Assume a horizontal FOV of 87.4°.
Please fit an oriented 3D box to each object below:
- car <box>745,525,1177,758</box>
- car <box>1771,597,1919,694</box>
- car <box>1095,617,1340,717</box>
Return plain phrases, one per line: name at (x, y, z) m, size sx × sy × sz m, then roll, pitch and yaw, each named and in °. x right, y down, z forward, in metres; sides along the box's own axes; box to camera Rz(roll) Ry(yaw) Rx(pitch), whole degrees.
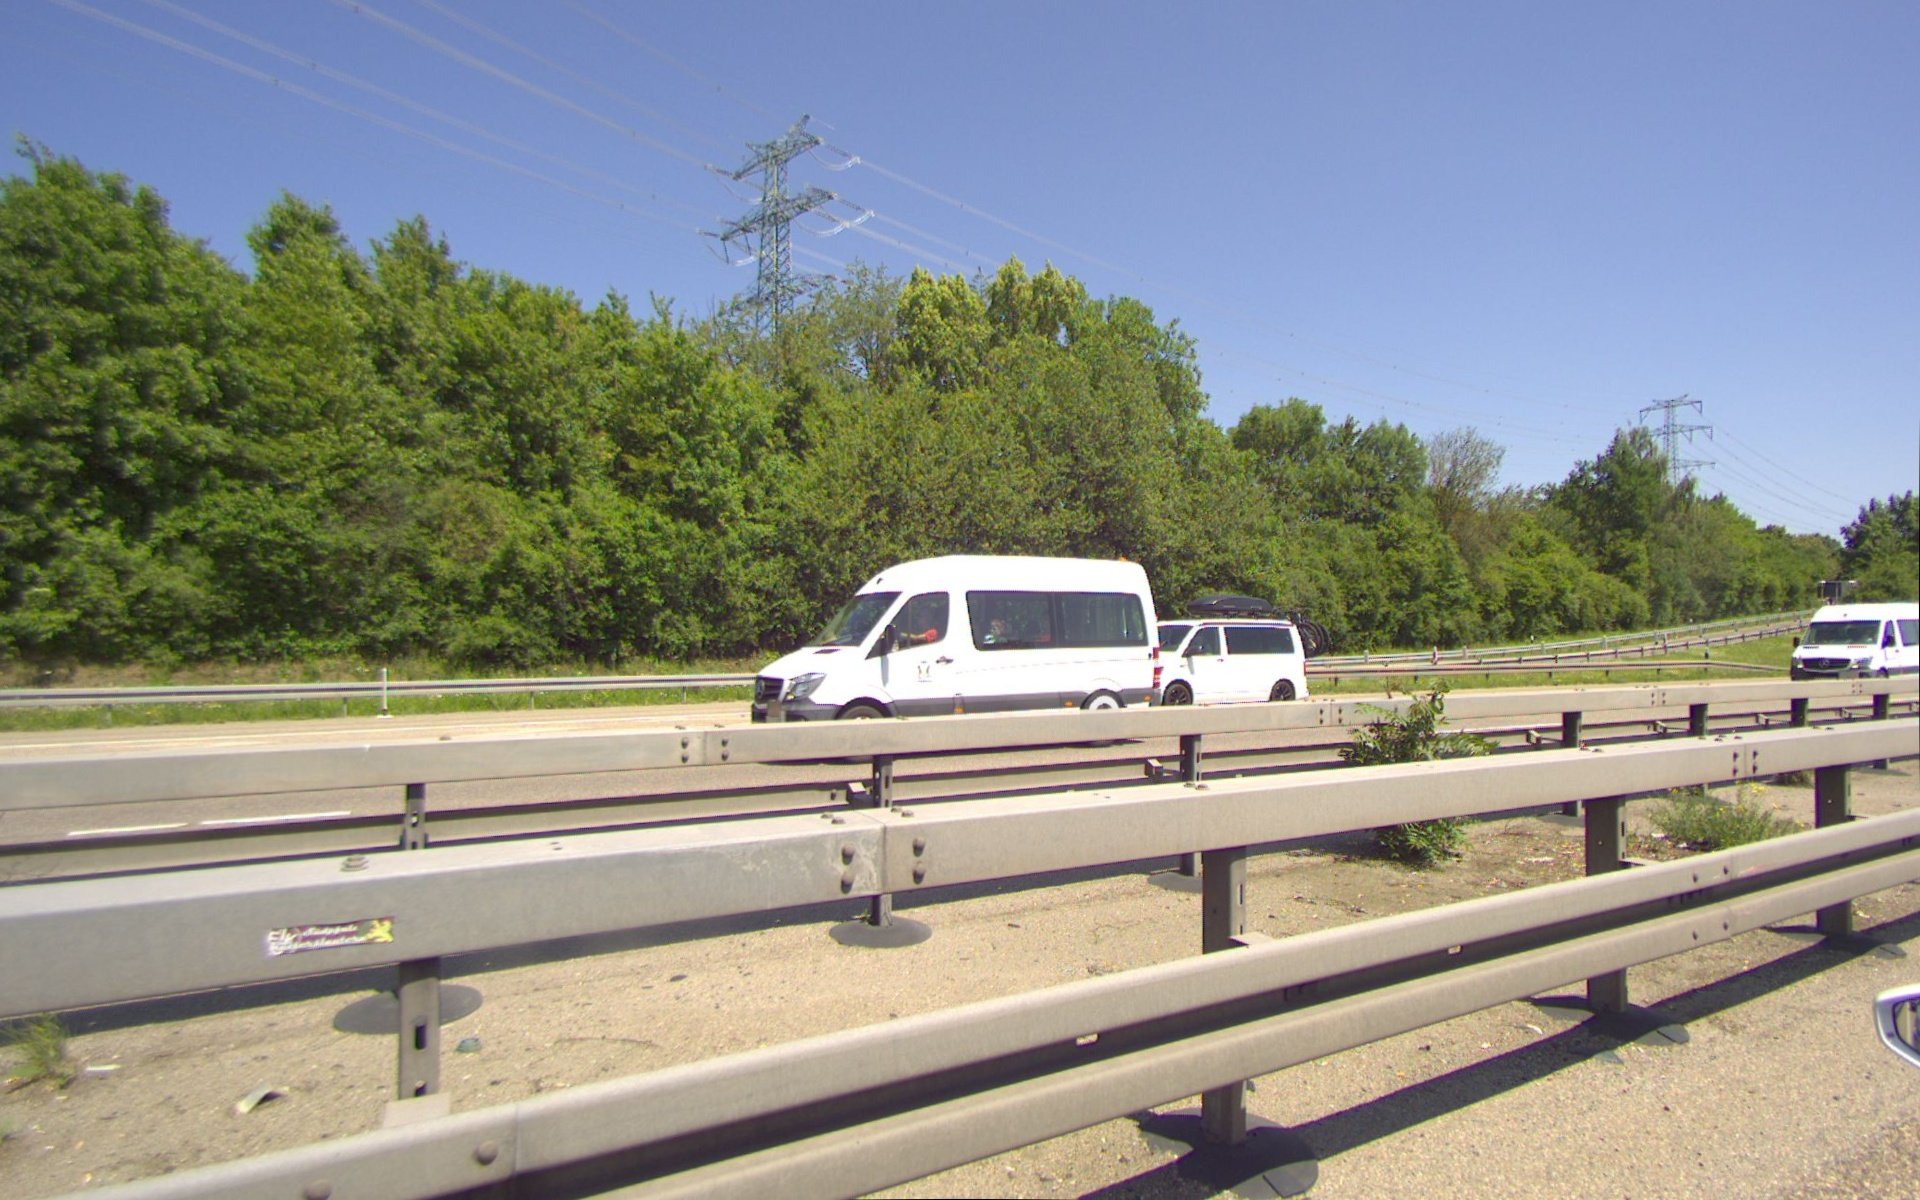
car at (0.136, 0.646, 13.955) m, size 5.772 × 2.685 × 2.043 m, roll 2°, pitch -5°, yaw -31°
car at (26.596, 1.365, 29.745) m, size 5.822 × 2.627 × 2.145 m, roll 2°, pitch -2°, yaw -31°
car at (5.580, 1.410, 21.497) m, size 5.431 × 1.929 × 1.855 m, roll 2°, pitch -3°, yaw -32°
